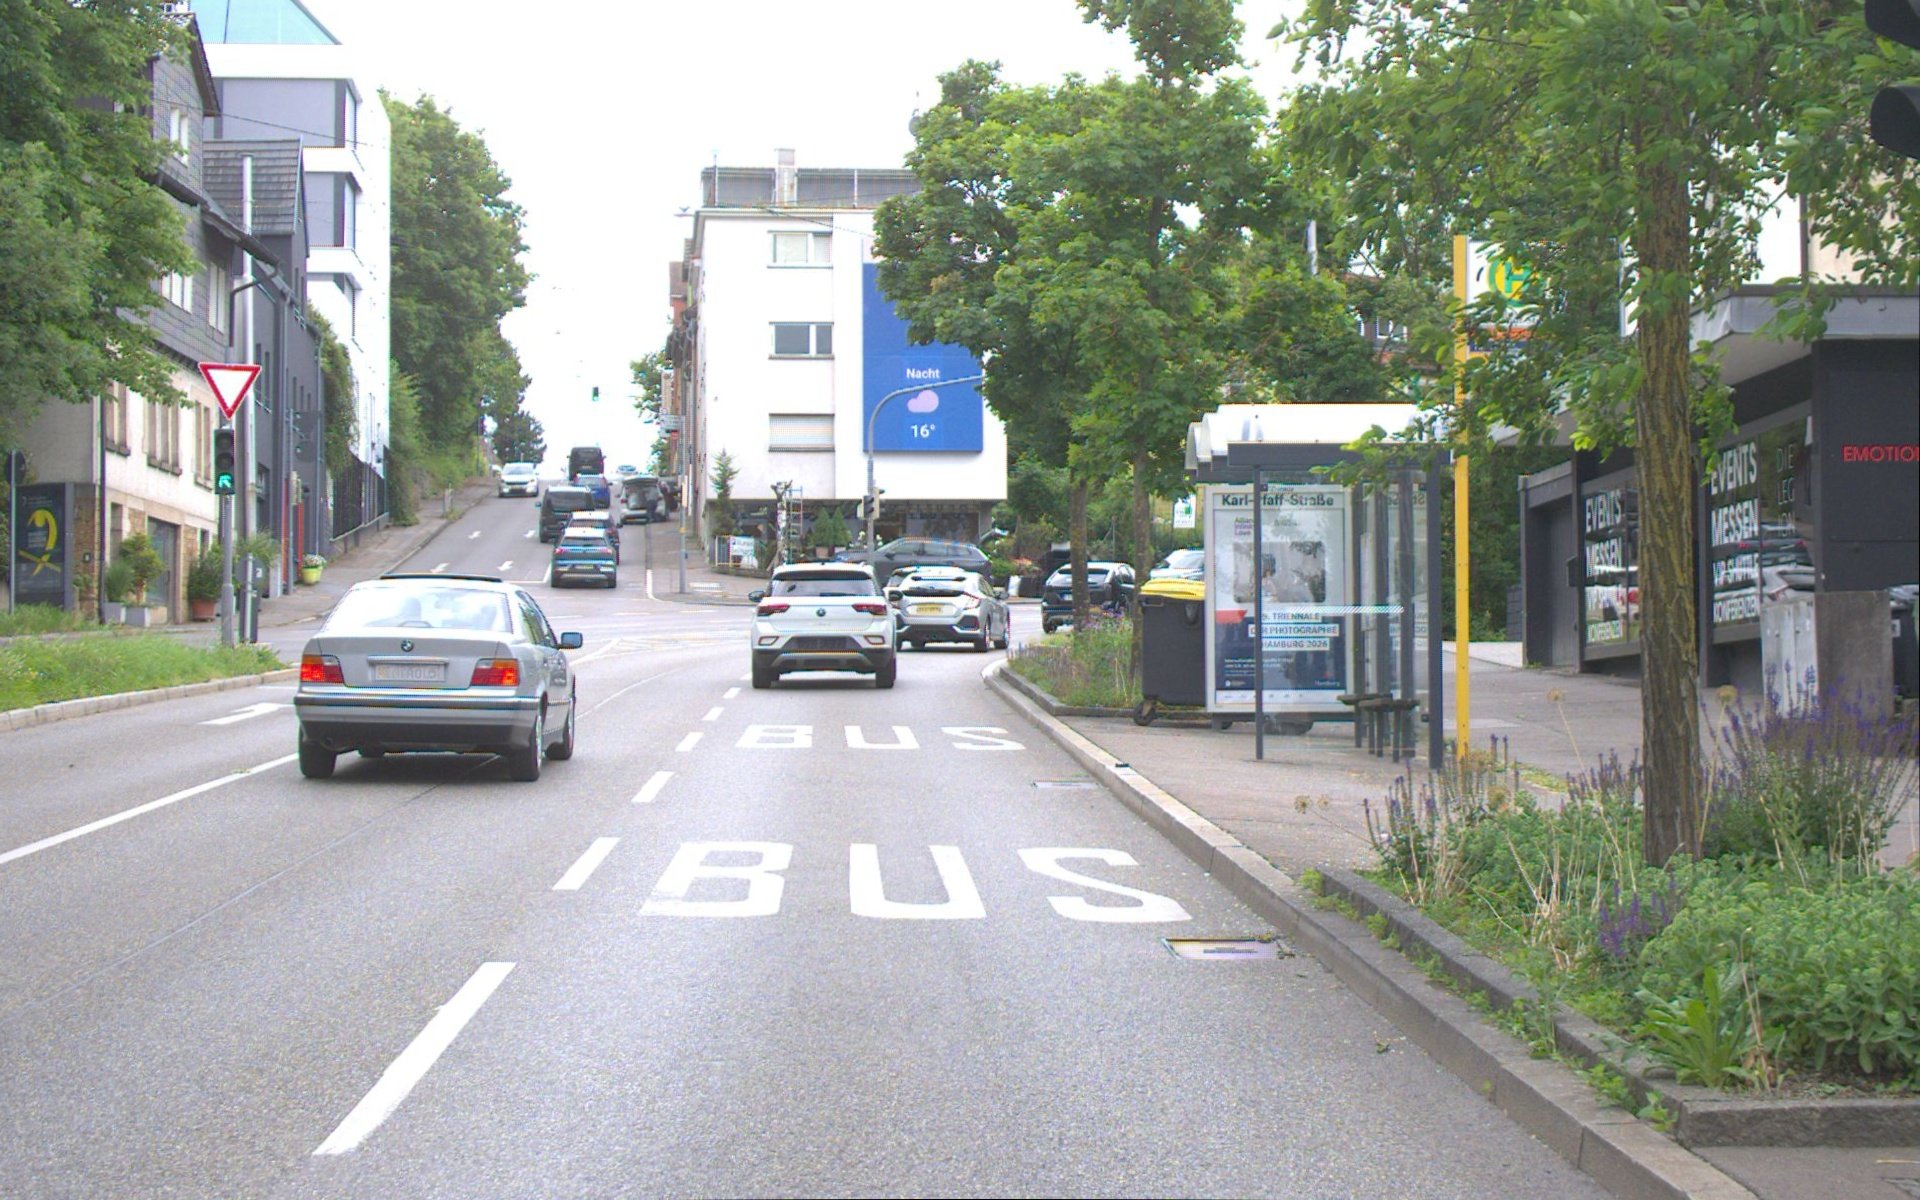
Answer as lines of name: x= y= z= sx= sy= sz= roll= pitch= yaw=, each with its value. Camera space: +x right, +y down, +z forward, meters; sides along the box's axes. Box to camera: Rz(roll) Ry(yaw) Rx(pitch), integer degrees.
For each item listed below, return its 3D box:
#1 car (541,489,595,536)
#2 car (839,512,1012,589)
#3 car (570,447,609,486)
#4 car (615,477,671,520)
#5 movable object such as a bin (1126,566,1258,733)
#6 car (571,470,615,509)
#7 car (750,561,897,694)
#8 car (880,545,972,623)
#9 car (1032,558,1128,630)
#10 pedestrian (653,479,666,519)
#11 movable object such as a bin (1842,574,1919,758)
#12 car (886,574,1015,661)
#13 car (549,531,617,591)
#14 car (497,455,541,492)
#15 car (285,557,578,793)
car: x=-13.543 y=-3.012 z=119.011 sx=1.779 sy=1.573 sz=4.001 roll=0 pitch=1 yaw=-5
car: x=-1.027 y=-1.448 z=99.044 sx=4.687 sy=1.706 sz=2.319 roll=5 pitch=4 yaw=-5
car: x=-20.105 y=-7.219 z=186.583 sx=1.993 sy=2.007 sz=4.001 roll=1 pitch=1 yaw=-5
car: x=-12.268 y=-3.921 z=133.259 sx=2.089 sy=1.607 sz=4.001 roll=1 pitch=1 yaw=-4
movable object such as a bin: x=2.132 y=0.439 z=31.842 sx=1.085 sy=1.476 sz=1.537 roll=1 pitch=1 yaw=-1
car: x=-15.712 y=-4.708 z=147.322 sx=1.779 sy=1.573 sz=4.001 roll=1 pitch=1 yaw=-5
car: x=-1.740 y=0.306 z=43.728 sx=1.779 sy=1.573 sz=4.001 roll=0 pitch=1 yaw=-2
car: x=-0.691 y=-0.360 z=72.316 sx=1.780 sy=1.573 sz=4.000 roll=1 pitch=1 yaw=2
car: x=2.591 y=-0.150 z=73.529 sx=1.794 sy=1.405 sz=3.999 roll=1 pitch=1 yaw=6
pedestrian: x=-11.556 y=-3.874 z=132.312 sx=0.458 sy=1.524 sz=0.527 roll=1 pitch=0 yaw=-4
movable object such as a bin: x=8.661 y=0.543 z=28.098 sx=1.888 sy=1.447 sz=4.000 roll=1 pitch=1 yaw=0
car: x=-0.135 y=0.278 z=61.435 sx=1.780 sy=1.405 sz=3.999 roll=1 pitch=1 yaw=7
car: x=-10.455 y=-1.091 z=95.586 sx=1.779 sy=1.573 sz=4.001 roll=1 pitch=1 yaw=-5
car: x=-20.566 y=-5.905 z=160.374 sx=1.882 sy=1.562 sz=4.391 roll=0 pitch=4 yaw=-6
car: x=-3.683 y=0.469 z=24.515 sx=1.706 sy=1.459 sz=4.001 roll=1 pitch=1 yaw=-4
